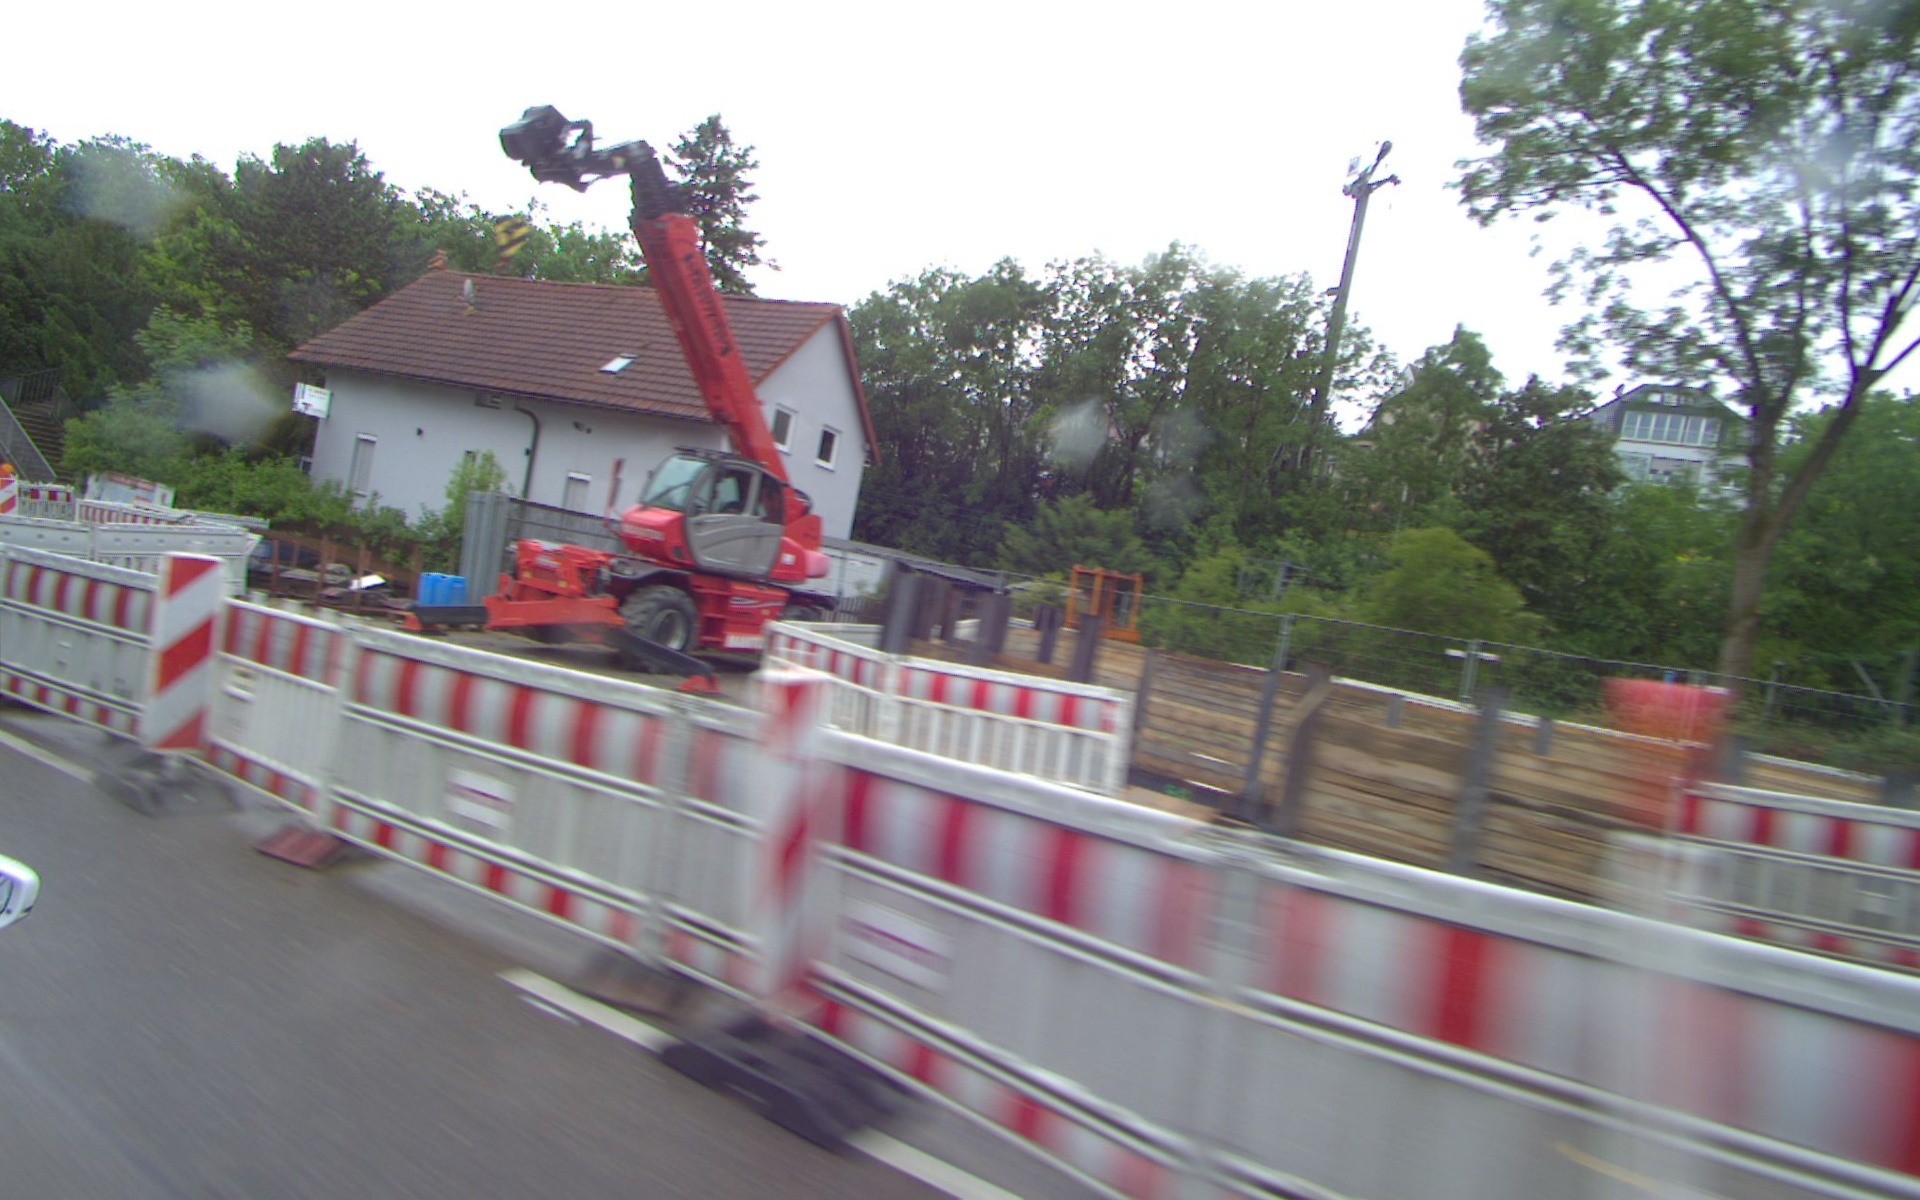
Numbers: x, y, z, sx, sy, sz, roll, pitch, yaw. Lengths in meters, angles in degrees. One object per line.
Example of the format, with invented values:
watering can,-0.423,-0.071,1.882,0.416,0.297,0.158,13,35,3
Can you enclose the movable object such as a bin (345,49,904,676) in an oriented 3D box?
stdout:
movable object such as a bin,-4.224,-2.505,14.703,2.991,6.769,6.968,7,0,26
